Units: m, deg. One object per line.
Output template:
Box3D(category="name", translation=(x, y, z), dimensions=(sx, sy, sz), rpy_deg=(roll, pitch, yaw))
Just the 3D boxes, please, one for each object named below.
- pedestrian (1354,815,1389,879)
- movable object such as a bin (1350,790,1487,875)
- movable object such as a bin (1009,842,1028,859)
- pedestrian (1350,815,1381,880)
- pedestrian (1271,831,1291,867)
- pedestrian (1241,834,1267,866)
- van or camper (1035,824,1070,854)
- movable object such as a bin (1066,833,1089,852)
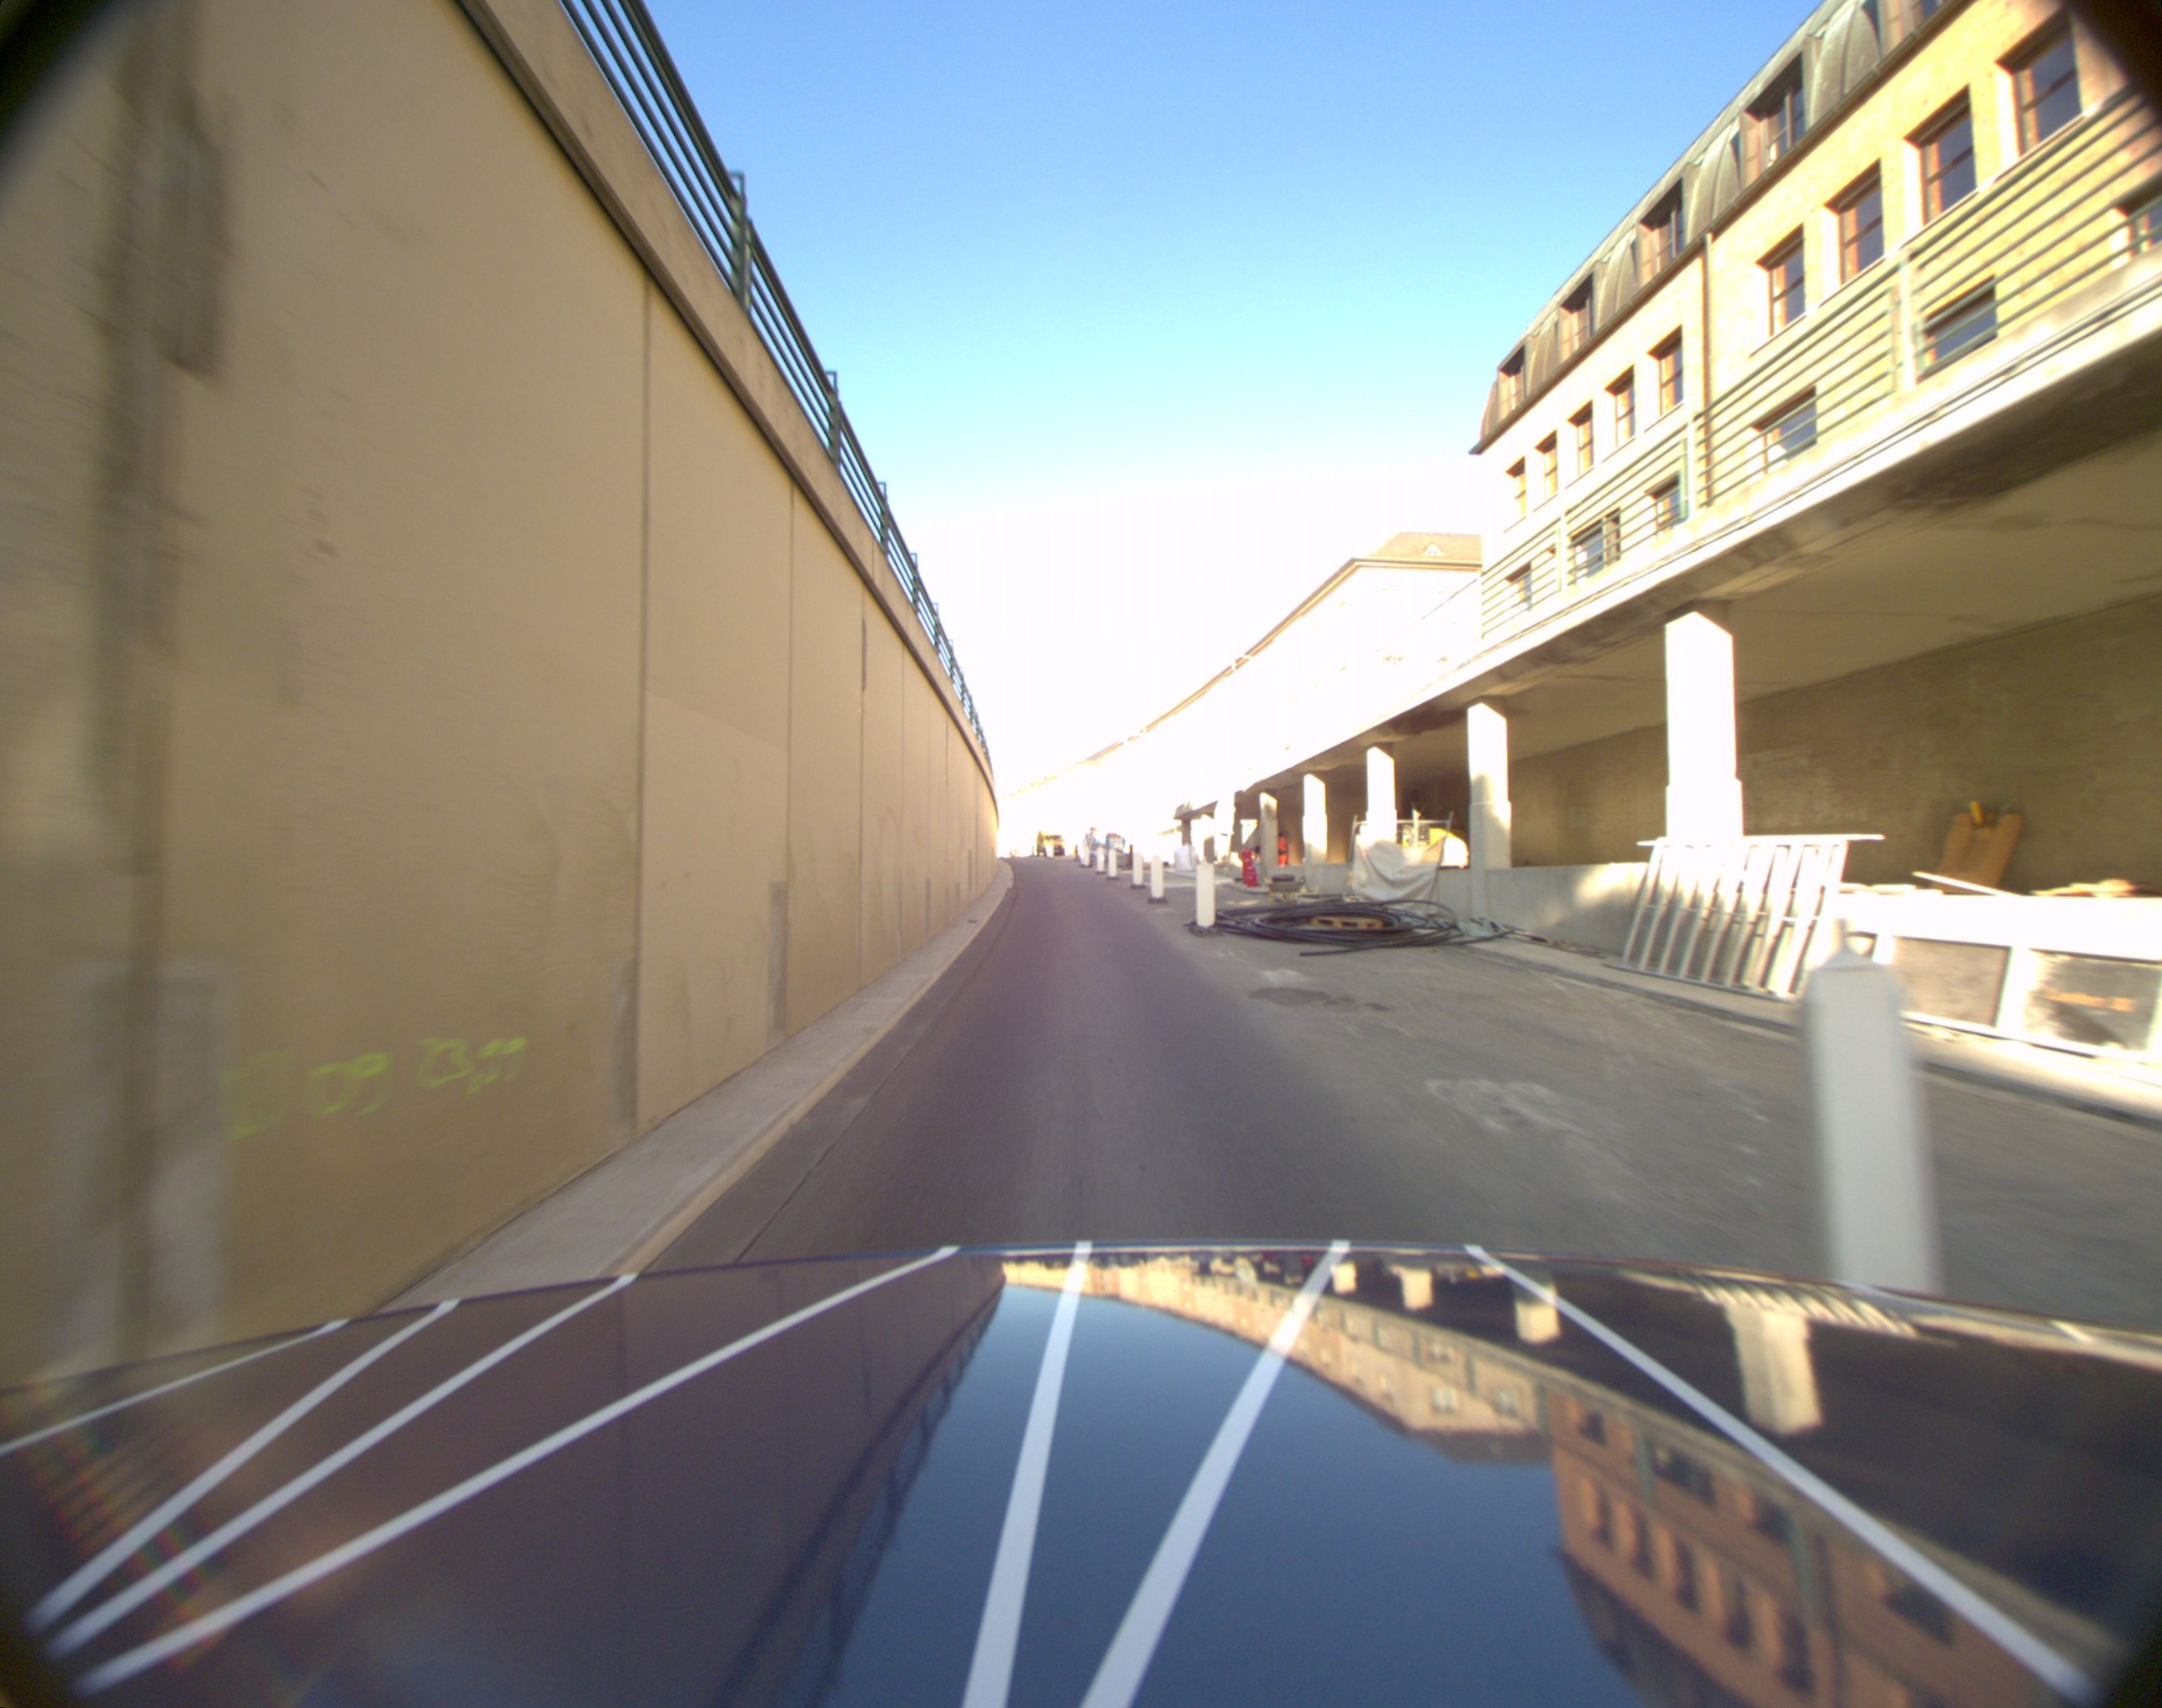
Box3D(category="pedestrian", translation=(8.542, -0.210, 22.342), dimensions=(0.706, 1.804, 0.709), rpy_deg=(-2, 2, -5))
Box3D(category="movable object such as a bin", translation=(8.533, -0.538, 19.487), dimensions=(1.891, 1.976, 3.156), rpy_deg=(-1, 1, -5))
Box3D(category="movable object such as a bin", translation=(-9.668, -0.475, 116.777), dimensions=(1.798, 2.438, 4.530), rpy_deg=(1, -2, -20))
Box3D(category="pedestrian", translation=(8.041, -0.175, 21.488), dimensions=(0.658, 1.795, 0.624), rpy_deg=(-1, 2, 5))
Box3D(category="pedestrian", translation=(8.822, -0.211, 33.514), dimensions=(0.651, 1.571, 0.630), rpy_deg=(-1, 2, -13))
Box3D(category="pedestrian", translation=(7.665, -0.185, 33.762), dimensions=(0.874, 1.390, 0.782), rpy_deg=(-1, 2, -12))
Box3D(category="van or camper", translation=(-2.834, -1.431, 72.844), dimensions=(2.201, 2.598, 6.816), rpy_deg=(-3, 1, -11))
Box3D(category="movable object such as a bin", translation=(-0.521, -1.509, 100.613), dimensions=(2.107, 2.381, 4.303), rpy_deg=(2, -1, -13))
